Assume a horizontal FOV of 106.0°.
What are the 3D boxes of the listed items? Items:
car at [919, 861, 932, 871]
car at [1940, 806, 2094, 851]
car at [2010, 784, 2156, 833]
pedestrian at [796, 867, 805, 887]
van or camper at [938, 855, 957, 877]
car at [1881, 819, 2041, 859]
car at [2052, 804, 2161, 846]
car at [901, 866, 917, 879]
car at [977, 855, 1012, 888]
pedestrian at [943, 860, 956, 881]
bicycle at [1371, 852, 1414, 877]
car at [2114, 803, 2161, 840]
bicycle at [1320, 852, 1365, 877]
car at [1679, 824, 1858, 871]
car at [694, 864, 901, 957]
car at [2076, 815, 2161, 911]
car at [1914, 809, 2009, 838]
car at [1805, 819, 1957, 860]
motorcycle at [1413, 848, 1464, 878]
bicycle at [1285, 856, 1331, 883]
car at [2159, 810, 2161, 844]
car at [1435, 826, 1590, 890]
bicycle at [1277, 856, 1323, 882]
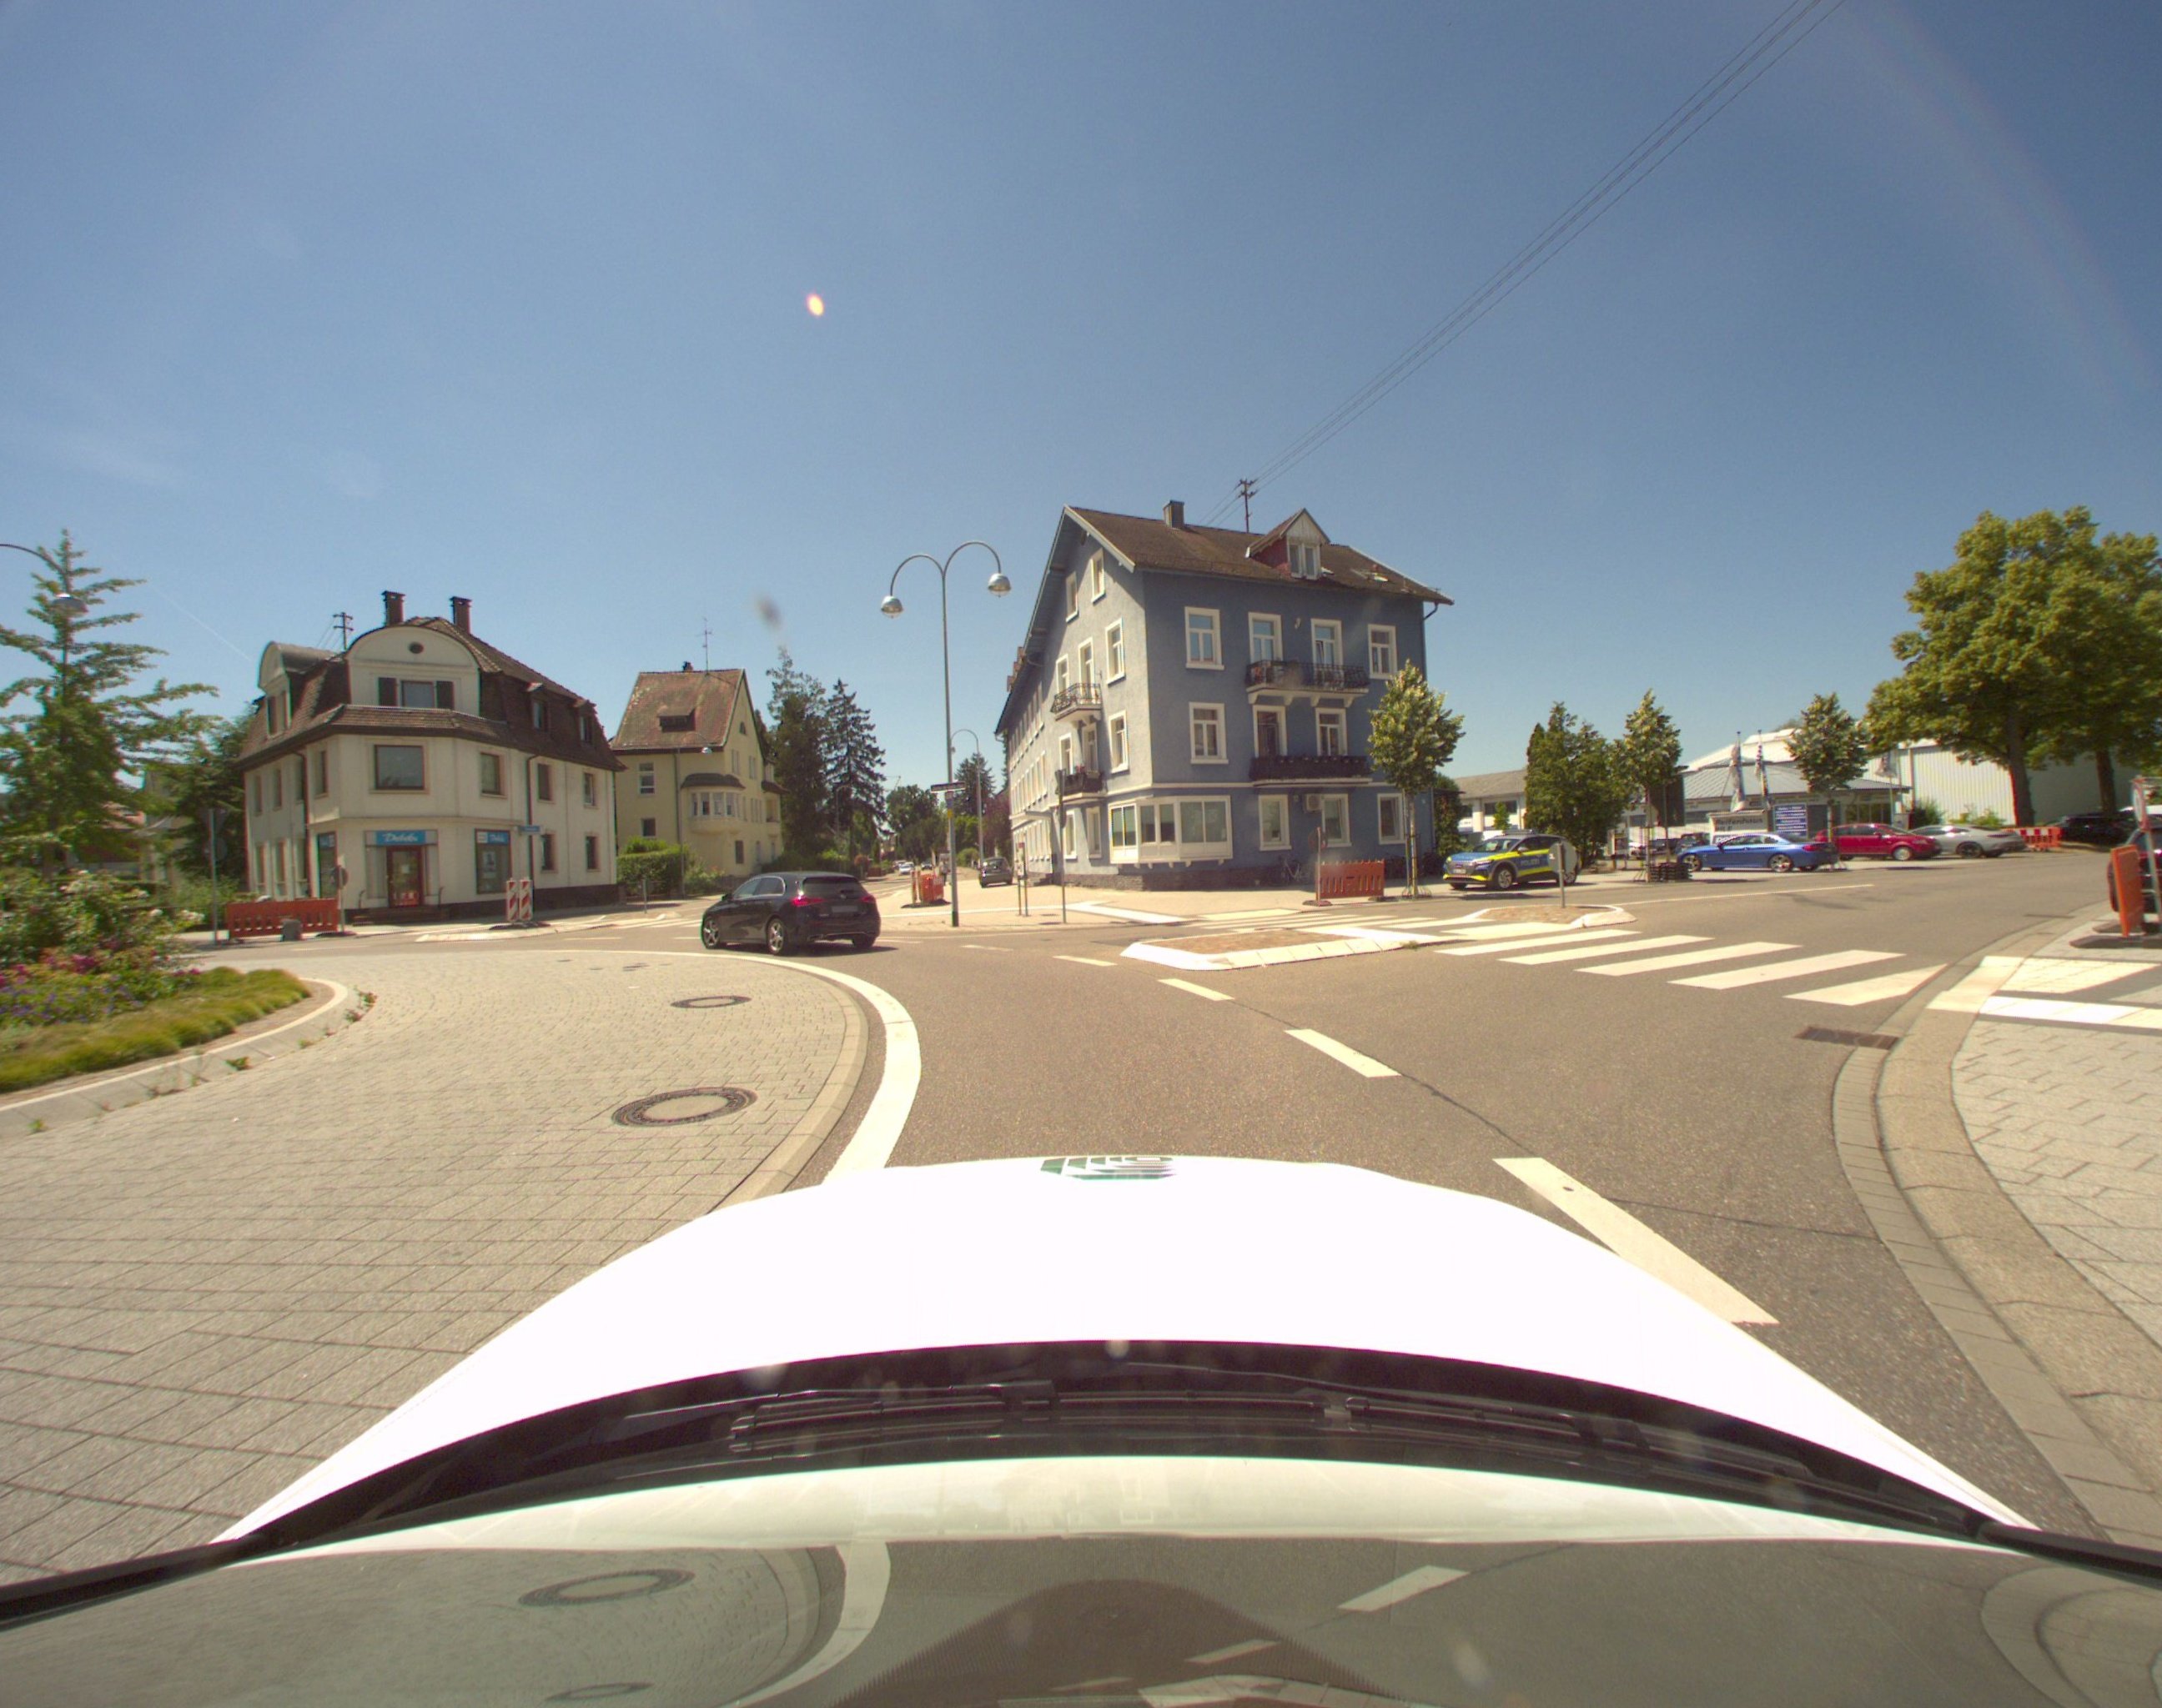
[{"bbox_3d":[-28.284,2.252,148.096,1.993,1.717,3.988,-2,-1,-9],"label":"car"},{"bbox_3d":[40.953,-1.068,35.746,2.000,1.783,3.974,-2,0,-19],"label":"car"},{"bbox_3d":[47.912,-2.114,39.044,2.001,2.014,3.971,0,-1,-21],"label":"car"},{"bbox_3d":[-21.548,1.794,62.563,0.521,1.509,0.473,-2,-1,-2],"label":"pedestrian"},{"bbox_3d":[-16.894,1.474,102.878,2.206,2.611,3.986,-2,-1,-10],"label":"van or camper"},{"bbox_3d":[35.740,-0.577,33.213,2.002,1.447,3.970,-2,0,-23],"label":"car"},{"bbox_3d":[53.526,-1.487,42.002,2.002,1.859,3.970,-5,1,-23],"label":"car"},{"bbox_3d":[-24.179,2.607,114.800,1.993,1.651,3.987,-2,-1,-9],"label":"car"},{"bbox_3d":[-4.660,0.889,43.535,1.639,1.507,3.554,-5,1,-8],"label":"car"},{"bbox_3d":[-8.655,1.075,53.609,0.664,1.286,0.587,-6,0,-1],"label":"pedestrian"},{"bbox_3d":[12.243,0.422,32.022,1.714,0.907,0.477,-2,1,-22],"label":"bicycle"},{"bbox_3d":[59.040,-1.836,43.732,2.002,1.859,3.970,-5,1,-23],"label":"car"},{"bbox_3d":[9.956,0.390,30.955,1.714,0.907,0.477,-2,1,-22],"label":"bicycle"},{"bbox_3d":[24.053,-0.151,28.712,1.909,1.480,4.431,1,-2,-25],"label":"car"},{"bbox_3d":[-5.318,0.973,15.052,3.949,1.427,1.972,-3,-1,43],"label":"car"},{"bbox_3d":[17.862,0.077,13.325,4.192,1.436,1.884,-2,-2,-39],"label":"car"},{"bbox_3d":[60.423,-2.060,55.975,2.001,1.860,3.972,0,0,-21],"label":"car"},{"bbox_3d":[32.861,-0.556,33.584,2.002,1.530,3.970,-2,0,-23],"label":"car"},{"bbox_3d":[13.768,0.343,31.376,1.906,1.051,0.584,-2,1,-20],"label":"motorcycle"},{"bbox_3d":[8.332,0.554,29.934,1.714,0.907,0.437,-2,1,-22],"label":"bicycle"},{"bbox_3d":[26.025,-0.355,16.742,1.908,1.523,4.263,-2,-2,-22],"label":"car"},{"bbox_3d":[13.188,0.094,24.921,4.253,1.743,1.892,-2,0,-22],"label":"car"},{"bbox_3d":[8.167,0.545,30.367,1.714,0.907,0.437,-2,1,-22],"label":"bicycle"}]
